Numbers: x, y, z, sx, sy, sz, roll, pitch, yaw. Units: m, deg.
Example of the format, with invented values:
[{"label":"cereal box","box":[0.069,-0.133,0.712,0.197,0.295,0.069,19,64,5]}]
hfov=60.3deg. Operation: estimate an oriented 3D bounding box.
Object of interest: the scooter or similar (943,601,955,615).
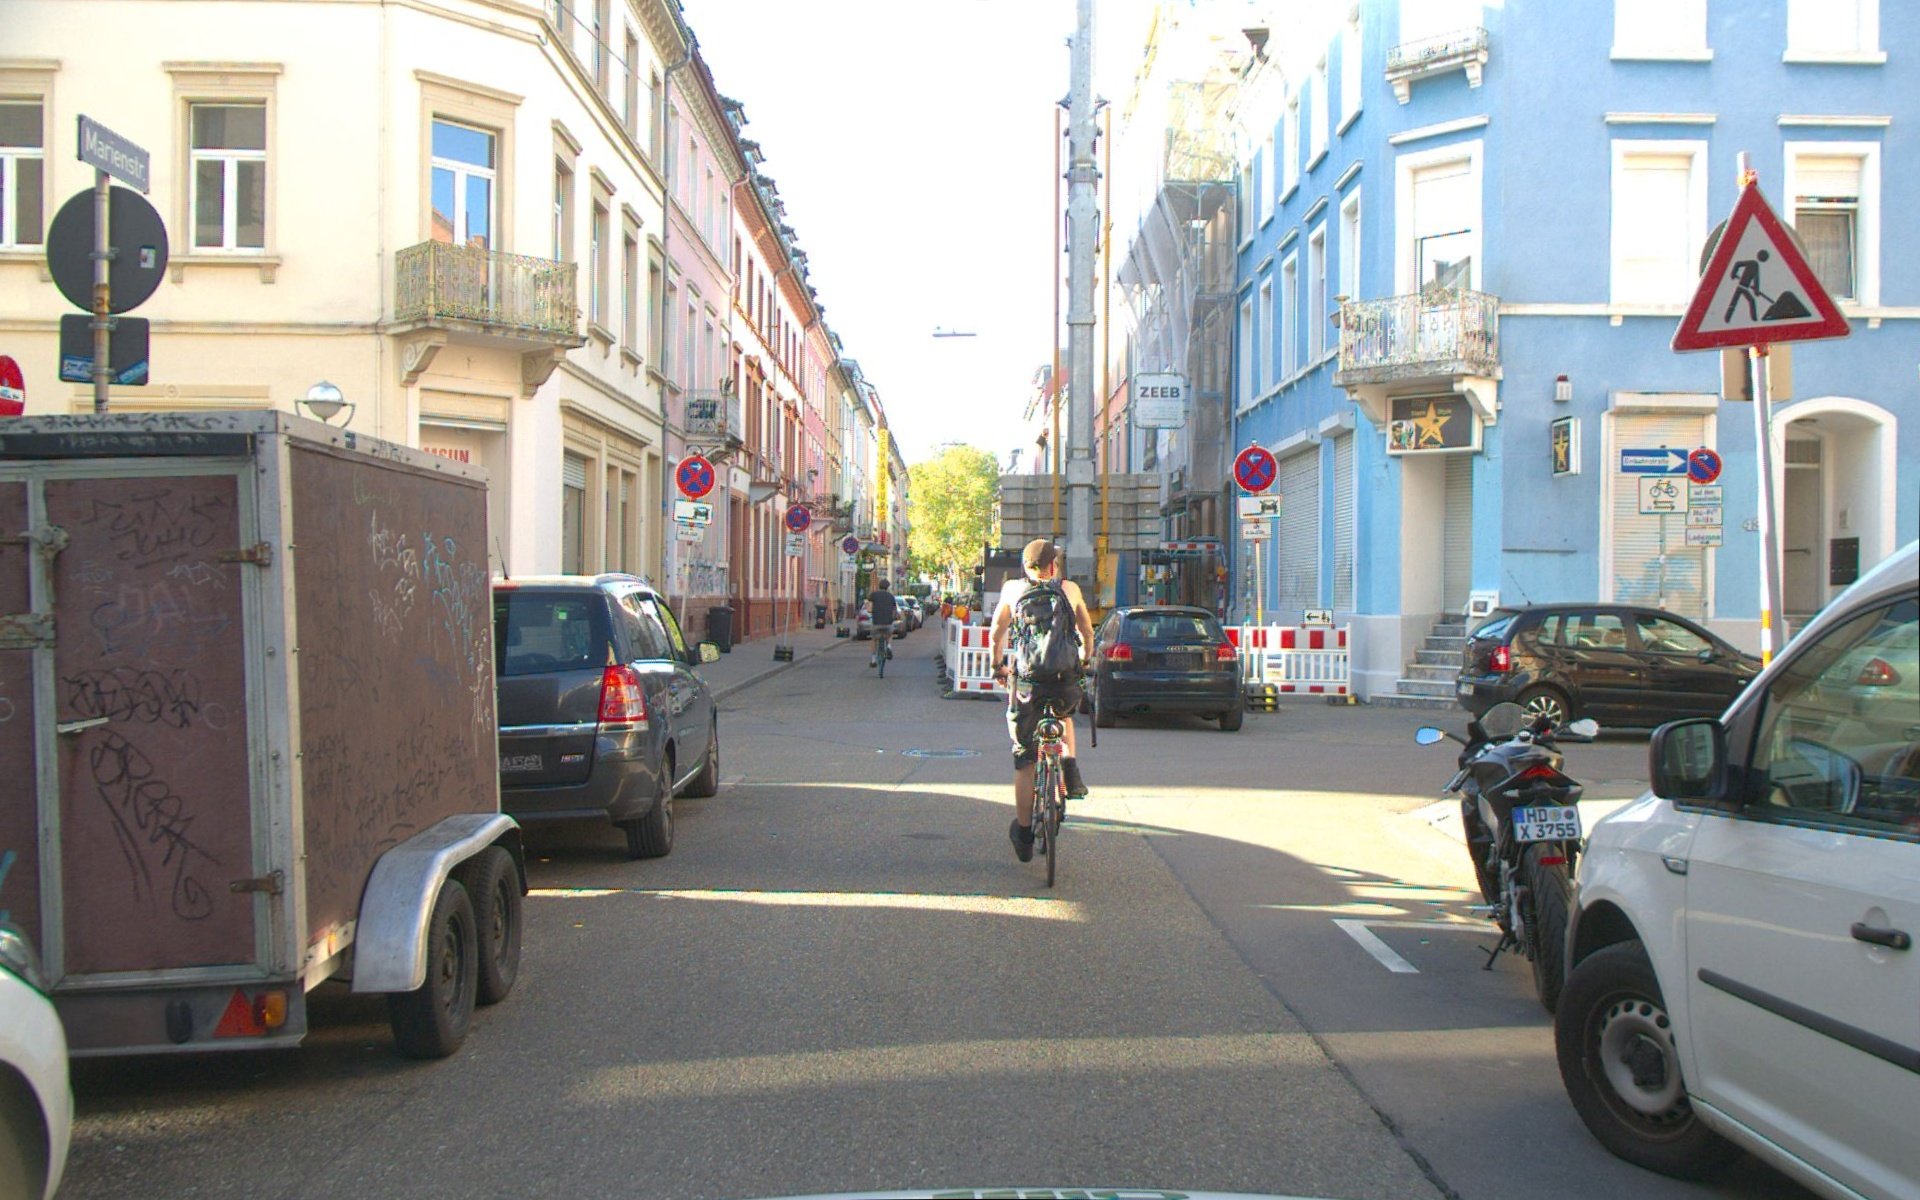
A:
[{"label":"scooter or similar","box":[-0.700,0.498,105.903,0.755,0.888,0.770,1,0,-1]}]

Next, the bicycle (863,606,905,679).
[{"label":"bicycle","box":[-1.397,0.765,30.803,0.687,1.229,2.342,-1,1,-1]}]

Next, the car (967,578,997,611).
[{"label":"car","box":[1.767,-0.405,135.772,2.261,2.582,6.769,-2,0,0]}]

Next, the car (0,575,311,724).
[{"label":"car","box":[-9.312,0.488,17.658,4.056,1.481,1.758,1,0,-3]}]

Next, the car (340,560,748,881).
[{"label":"car","box":[-2.428,0.603,10.690,1.687,1.633,4.165,-1,1,-2]}]

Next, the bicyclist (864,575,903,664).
[{"label":"bicyclist","box":[-1.416,0.351,30.727,0.687,1.633,0.812,-1,1,-1]}]

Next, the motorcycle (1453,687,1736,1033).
[{"label":"motorcycle","box":[2.572,0.981,6.937,0.703,1.105,1.998,3,0,10]}]

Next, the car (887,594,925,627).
[{"label":"car","box":[-2.500,0.477,77.365,1.638,1.467,4.165,-2,0,0]}]

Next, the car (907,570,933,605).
[{"label":"car","box":[-3.028,-0.953,124.704,1.871,2.540,4.163,-1,0,-2]}]

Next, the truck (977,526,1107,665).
[{"label":"truck","box":[1.763,-0.081,38.445,2.607,2.863,7.393,1,0,0]}]

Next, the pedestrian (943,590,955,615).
[{"label":"pedestrian","box":[-0.705,0.143,106.376,0.755,1.606,0.900,1,0,-1]}]

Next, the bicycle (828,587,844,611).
[{"label":"bicycle","box":[-5.930,-0.035,78.899,0.580,1.108,2.079,1,0,0]}]

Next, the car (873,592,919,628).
[{"label":"car","box":[-2.711,0.414,70.865,1.675,1.407,4.357,0,1,2]}]

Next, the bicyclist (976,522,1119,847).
[{"label":"bicyclist","box":[0.460,0.438,9.084,0.687,1.662,1.090,1,0,0]}]

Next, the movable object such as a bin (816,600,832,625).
[{"label":"movable object such as a bin","box":[-5.415,0.507,65.871,0.532,0.961,0.487,1,0,0]}]

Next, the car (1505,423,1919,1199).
[{"label":"car","box":[2.684,0.572,3.242,1.713,1.848,4.369,-1,0,-1]}]

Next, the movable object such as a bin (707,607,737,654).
[{"label":"movable object such as a bin","box":[-5.502,0.698,38.252,0.593,1.053,0.596,1,0,-2]}]

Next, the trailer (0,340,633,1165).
[{"label":"trailer","box":[-2.430,0.400,6.412,1.628,2.097,4.361,-1,0,-3]}]

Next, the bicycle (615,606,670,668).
[{"label":"bicycle","box":[-5.675,0.650,29.670,0.609,1.040,1.818,1,0,0]}]

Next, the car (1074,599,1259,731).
[{"label":"car","box":[2.475,0.737,20.734,1.735,1.459,4.033,1,0,-1]}]

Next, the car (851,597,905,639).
[{"label":"car","box":[-2.921,0.623,59.627,1.676,1.407,4.505,-2,0,0]}]

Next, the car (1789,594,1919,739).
[{"label":"car","box":[11.733,0.716,18.143,4.377,1.459,1.757,1,2,1]}]

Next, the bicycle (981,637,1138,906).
[{"label":"bicycle","box":[0.493,0.849,9.101,0.687,1.229,2.342,1,0,0]}]

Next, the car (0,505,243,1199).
[{"label":"car","box":[-2.401,0.645,1.741,1.642,1.582,3.817,-1,0,-1]}]

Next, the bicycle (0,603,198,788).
[{"label":"bicycle","box":[-7.353,0.713,12.854,2.425,1.383,0.928,0,0,0]}]

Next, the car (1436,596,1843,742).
[{"label":"car","box":[7.386,0.722,18.231,3.788,1.479,1.677,1,0,0]}]
